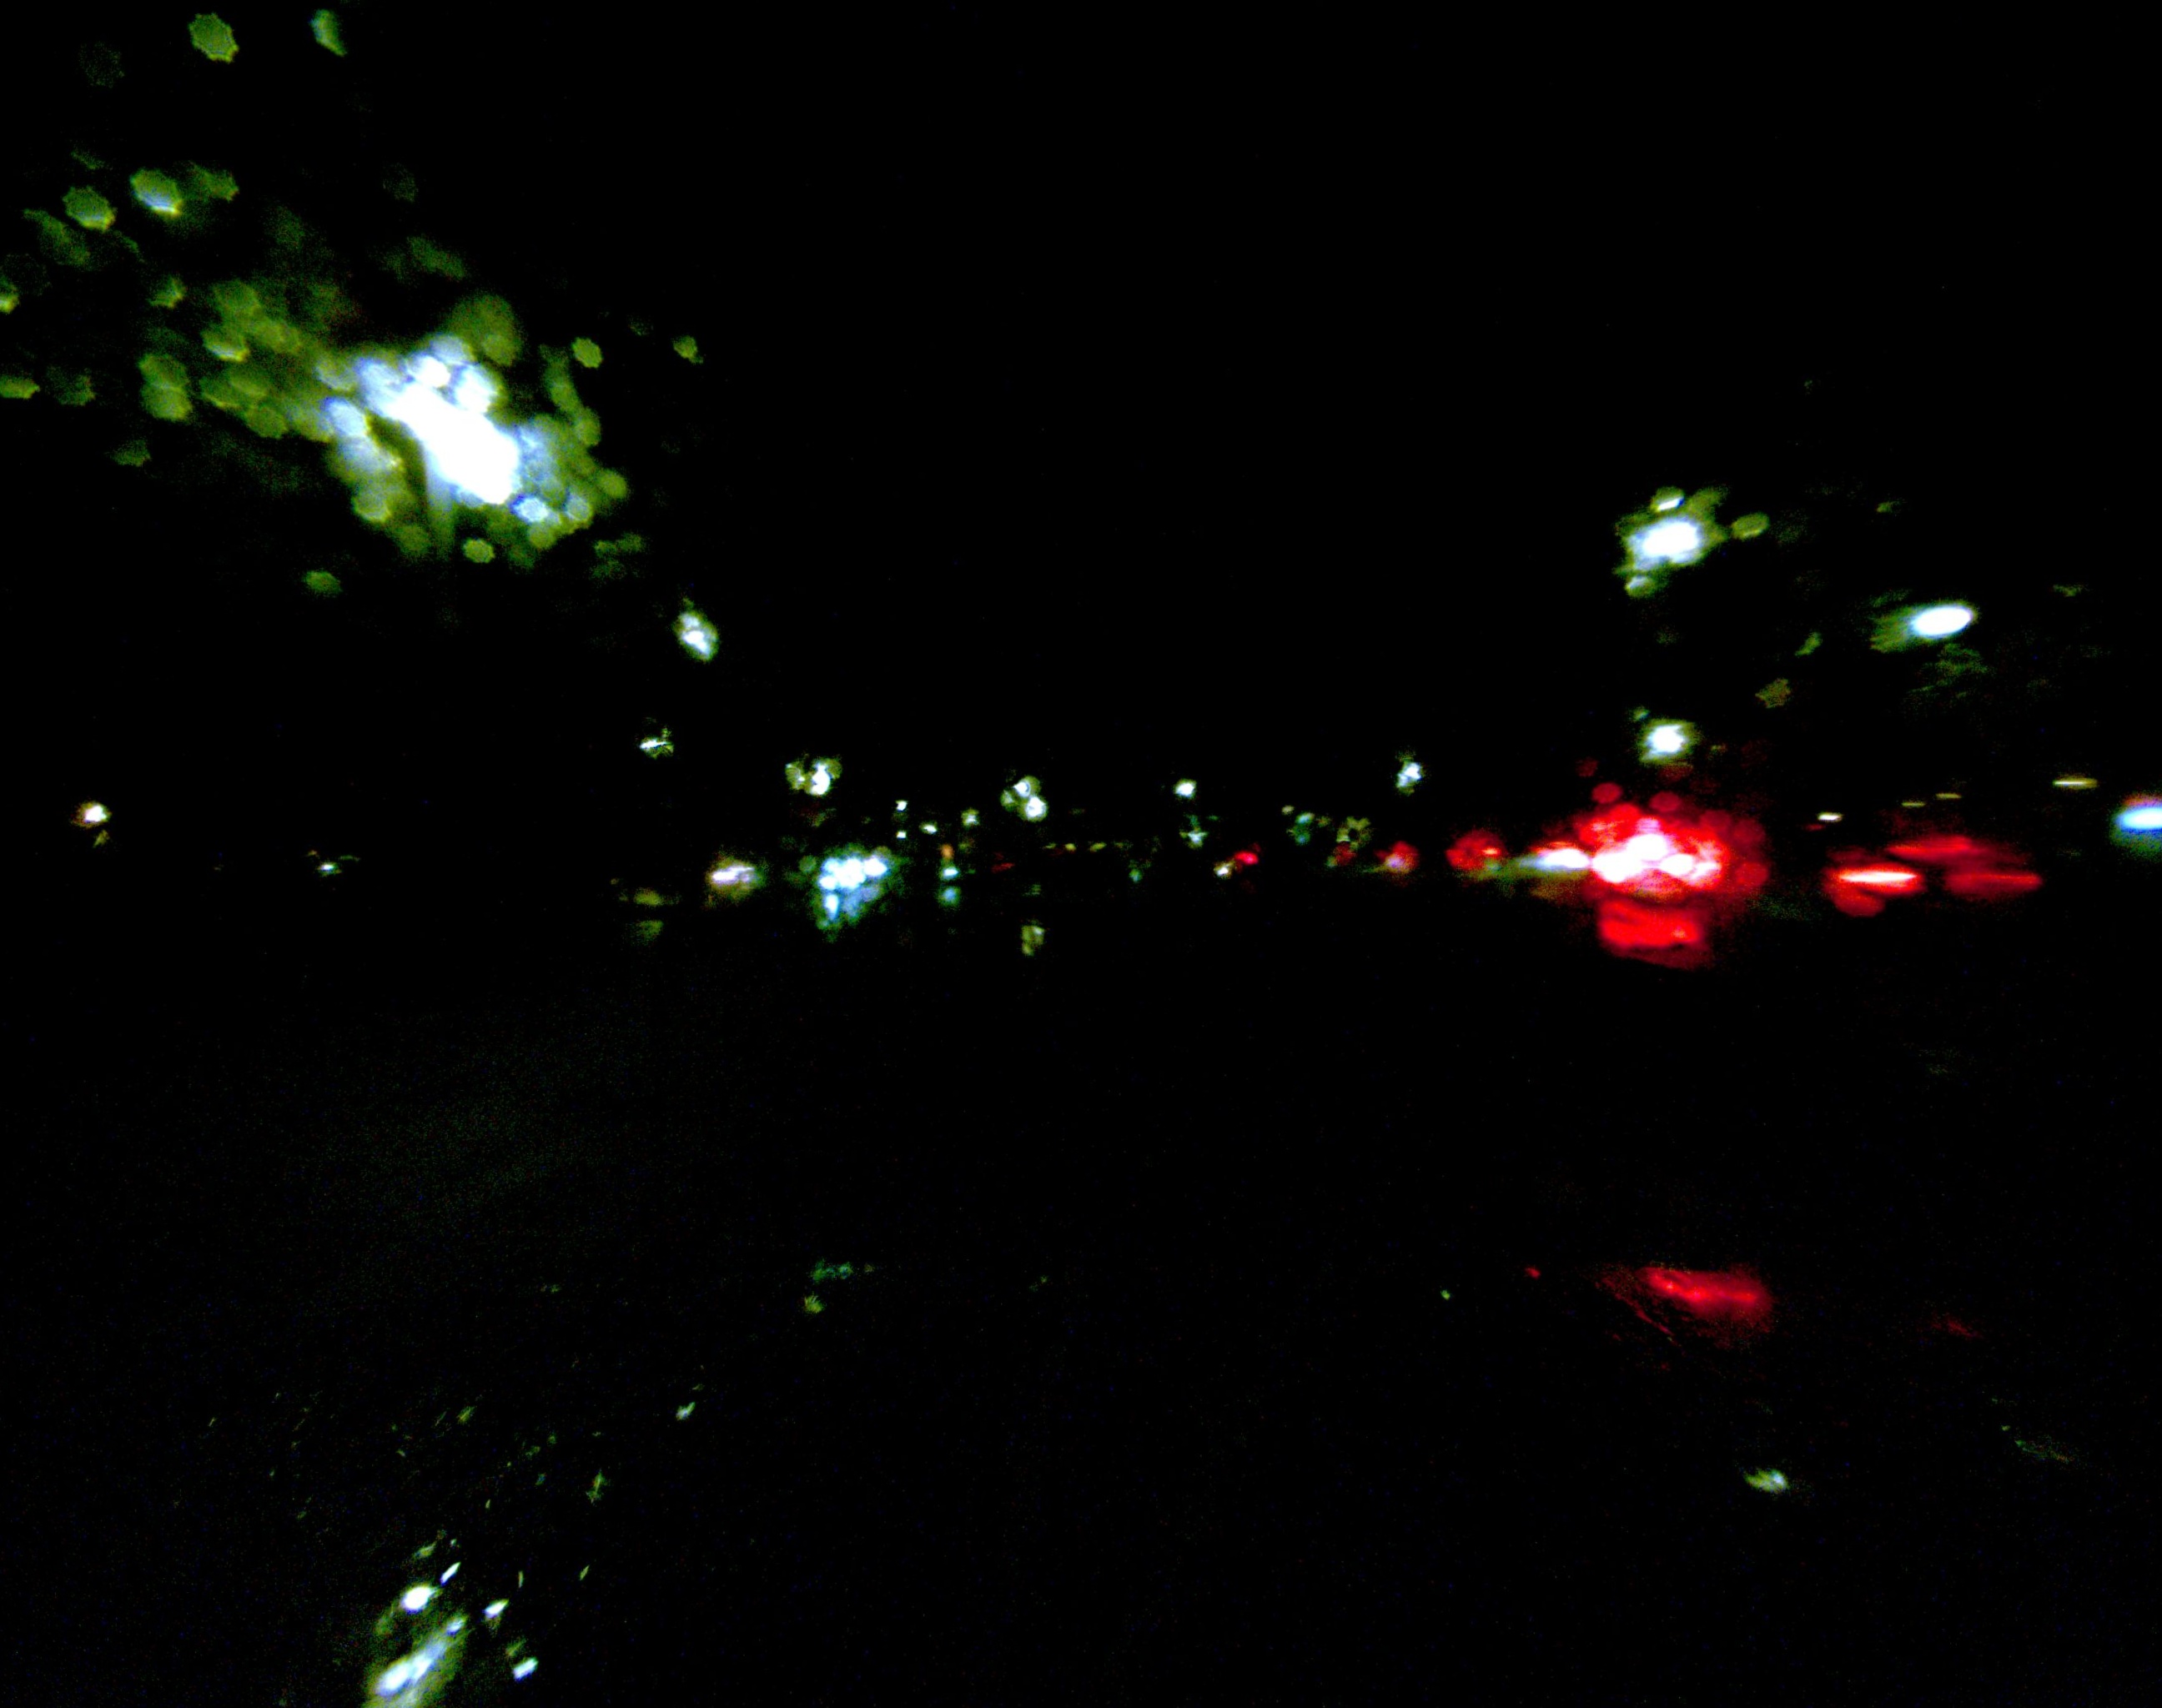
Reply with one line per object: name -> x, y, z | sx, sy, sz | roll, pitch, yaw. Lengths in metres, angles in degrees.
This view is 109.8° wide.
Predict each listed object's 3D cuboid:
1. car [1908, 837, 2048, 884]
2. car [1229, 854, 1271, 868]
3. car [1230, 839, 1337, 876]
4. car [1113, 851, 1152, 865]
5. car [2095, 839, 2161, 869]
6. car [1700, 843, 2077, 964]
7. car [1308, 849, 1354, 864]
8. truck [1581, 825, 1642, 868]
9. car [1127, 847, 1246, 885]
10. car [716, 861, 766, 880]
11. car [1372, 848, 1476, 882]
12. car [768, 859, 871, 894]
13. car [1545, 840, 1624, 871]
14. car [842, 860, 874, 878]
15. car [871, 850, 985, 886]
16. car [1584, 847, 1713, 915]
car -> 36.405, 0.257, 30.875 | 4.001, 1.764, 1.998 | -1, 0, -12
car -> 19.228, 0.784, 86.421 | 4.174, 1.457, 2.004 | -1, 0, 44
car -> 9.287, 0.150, 35.066 | 4.428, 1.612, 2.000 | 0, 0, 1
car -> 5.754, 0.417, 84.874 | 4.182, 1.457, 2.000 | -1, 0, 0
car -> 60.031, -0.016, 41.957 | 4.419, 1.612, 2.004 | 0, 1, 31
car -> 12.166, 0.618, 11.997 | 1.996, 1.447, 4.307 | 3, 1, 14
car -> 26.587, 0.259, 80.997 | 4.174, 1.457, 2.004 | -1, 0, 44
truck -> 31.914, -0.445, 45.577 | 2.316, 2.383, 7.829 | 0, 1, 40
car -> 4.332, 0.493, 30.956 | 4.632, 1.457, 1.649 | -1, 0, 13
car -> -28.416, 1.385, 63.636 | 1.766, 1.444, 4.004 | -1, 0, 14
car -> 16.341, 0.511, 36.252 | 4.188, 1.524, 1.997 | -1, 1, -16
car -> -12.045, 1.006, 34.806 | 5.084, 1.457, 2.004 | -1, 0, 38
car -> 26.522, 0.068, 39.987 | 4.193, 1.524, 1.995 | -1, 1, -34
car -> -22.039, 1.473, 75.111 | 1.999, 1.662, 4.185 | -1, 0, -2
car -> -7.245, 0.651, 35.764 | 5.184, 1.573, 2.004 | -1, 0, 30
car -> 14.972, 0.618, 20.346 | 2.064, 1.612, 4.642 | 0, 0, 28
